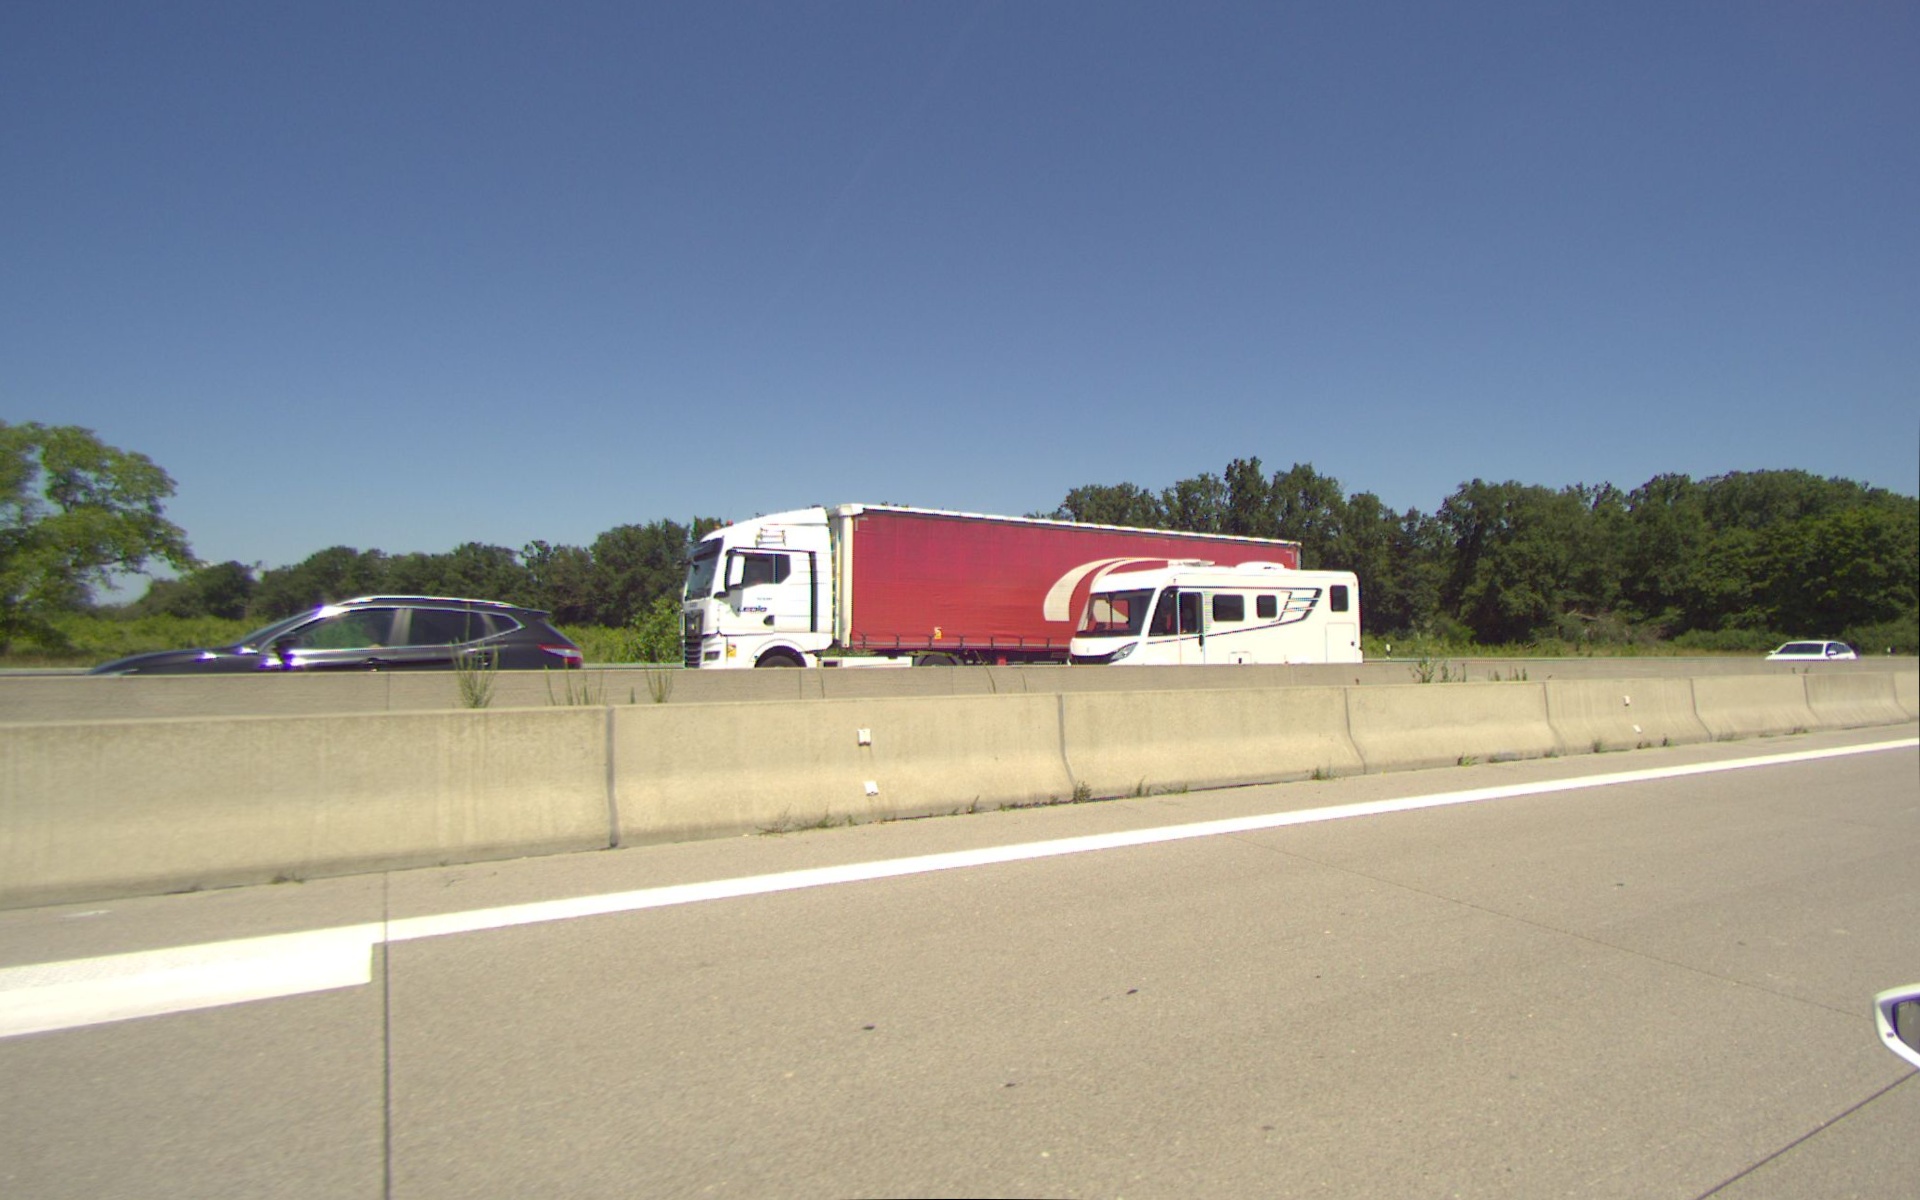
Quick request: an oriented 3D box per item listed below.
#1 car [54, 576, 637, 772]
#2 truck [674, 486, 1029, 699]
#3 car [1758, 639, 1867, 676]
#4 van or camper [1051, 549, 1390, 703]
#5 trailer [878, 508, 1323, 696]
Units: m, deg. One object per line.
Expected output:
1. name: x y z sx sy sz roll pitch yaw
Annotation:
1. car: -5.744 0.652 10.003 4.547 1.576 1.785 1 -1 -30
2. truck: -2.303 -0.056 22.157 7.209 4.035 2.986 1 -1 -30
3. car: 31.917 2.122 37.572 4.734 1.280 1.680 1 -1 -30
4. van or camper: 5.922 0.586 22.220 7.846 2.928 2.513 1 -1 -31
5. trailer: 4.032 0.183 25.905 12.197 4.035 2.985 1 -1 -31
